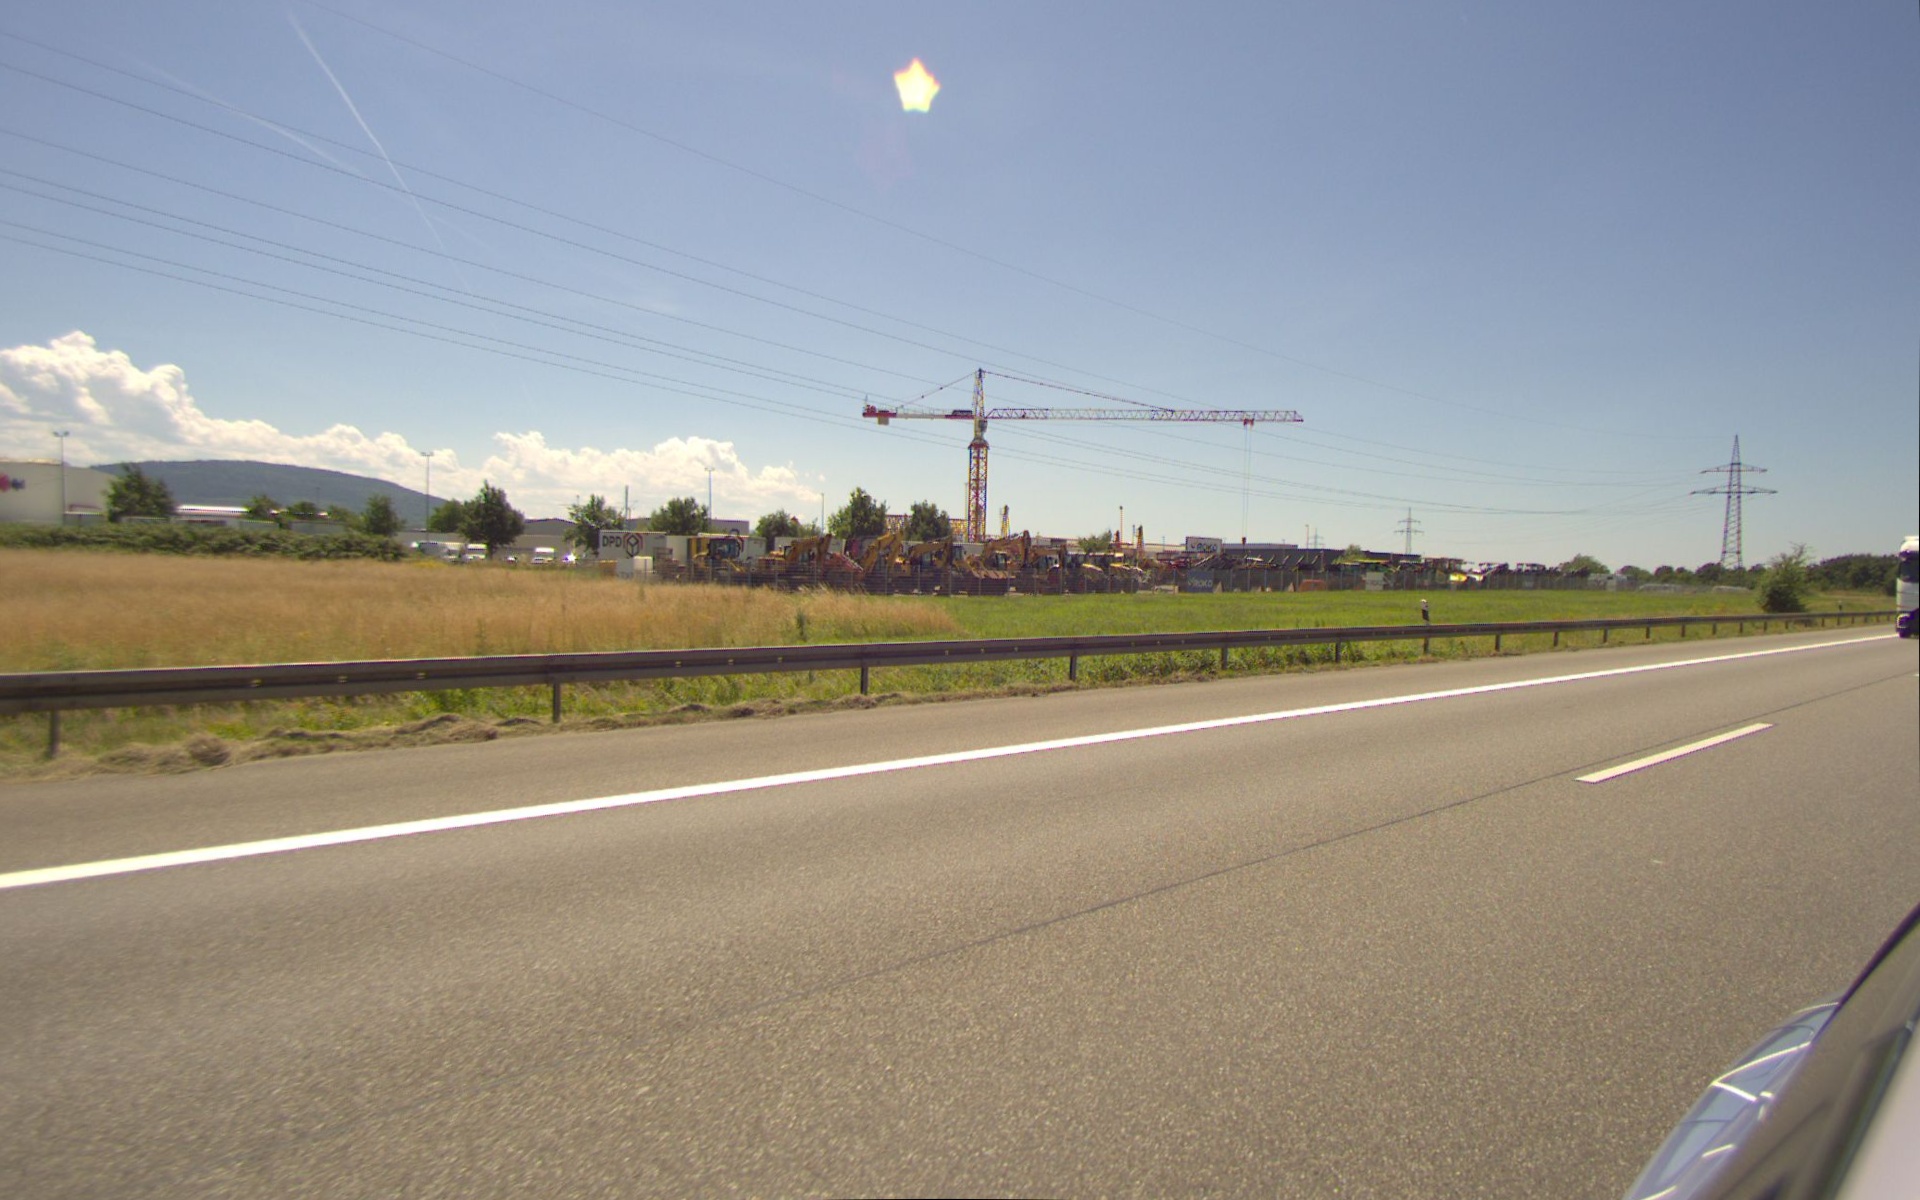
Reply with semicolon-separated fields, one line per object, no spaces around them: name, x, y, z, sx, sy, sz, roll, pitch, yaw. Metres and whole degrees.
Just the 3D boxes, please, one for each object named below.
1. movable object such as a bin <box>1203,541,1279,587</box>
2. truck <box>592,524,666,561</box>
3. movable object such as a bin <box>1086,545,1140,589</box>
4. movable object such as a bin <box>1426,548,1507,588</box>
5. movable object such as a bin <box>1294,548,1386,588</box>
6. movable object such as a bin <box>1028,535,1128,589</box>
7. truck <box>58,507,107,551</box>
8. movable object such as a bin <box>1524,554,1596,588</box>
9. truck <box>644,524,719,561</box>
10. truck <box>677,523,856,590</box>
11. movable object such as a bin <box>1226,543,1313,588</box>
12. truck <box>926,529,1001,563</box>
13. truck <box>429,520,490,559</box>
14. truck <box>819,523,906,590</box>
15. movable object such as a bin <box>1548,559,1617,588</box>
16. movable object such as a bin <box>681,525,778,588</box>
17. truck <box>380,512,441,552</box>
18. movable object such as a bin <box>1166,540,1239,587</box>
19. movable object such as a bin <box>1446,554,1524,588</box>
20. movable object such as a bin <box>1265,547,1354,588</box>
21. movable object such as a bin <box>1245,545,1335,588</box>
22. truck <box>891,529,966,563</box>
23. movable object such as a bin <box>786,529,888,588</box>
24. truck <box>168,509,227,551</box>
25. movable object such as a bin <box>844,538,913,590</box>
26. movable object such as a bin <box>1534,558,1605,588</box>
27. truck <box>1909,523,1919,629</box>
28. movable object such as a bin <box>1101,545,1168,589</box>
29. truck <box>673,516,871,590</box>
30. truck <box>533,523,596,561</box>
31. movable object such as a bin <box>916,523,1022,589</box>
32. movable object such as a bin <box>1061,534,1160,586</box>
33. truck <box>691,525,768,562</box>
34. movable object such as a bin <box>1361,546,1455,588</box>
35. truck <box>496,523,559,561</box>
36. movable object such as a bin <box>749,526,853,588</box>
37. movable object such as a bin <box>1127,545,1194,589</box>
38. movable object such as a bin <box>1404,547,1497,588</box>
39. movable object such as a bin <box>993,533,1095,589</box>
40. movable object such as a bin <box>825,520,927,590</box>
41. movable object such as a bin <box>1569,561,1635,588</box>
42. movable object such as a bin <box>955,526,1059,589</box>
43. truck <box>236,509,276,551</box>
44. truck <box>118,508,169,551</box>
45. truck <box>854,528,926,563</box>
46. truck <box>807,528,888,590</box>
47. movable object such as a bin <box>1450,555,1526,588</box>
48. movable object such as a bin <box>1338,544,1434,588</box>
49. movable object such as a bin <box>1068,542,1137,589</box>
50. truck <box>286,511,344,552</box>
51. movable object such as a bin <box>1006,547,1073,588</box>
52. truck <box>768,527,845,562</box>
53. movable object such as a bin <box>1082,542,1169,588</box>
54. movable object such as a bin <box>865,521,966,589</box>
movable object such as a bin;26.286;-3.277;95.356;3.366;4.103;9.401;0;0;-8
truck;-32.477;-5.662;99.142;8.123;3.453;2.496;4;3;35
movable object such as a bin;17.013;-3.603;112.909;2.658;4.803;7.171;0;0;-22
movable object such as a bin;60.996;-3.794;122.061;3.289;4.569;8.114;0;0;-38
movable object such as a bin;40.975;-3.380;109.520;3.367;4.103;9.399;0;0;-28
movable object such as a bin;9.209;-2.914;79.764;3.080;4.001;8.114;0;0;-38
truck;-74.380;-6.032;85.901;2.778;3.453;8.169;0;3;-39
movable object such as a bin;82.941;-3.962;140.094;2.829;4.429;8.114;0;0;-38
truck;-27.755;-5.692;100.612;8.123;3.453;2.603;4;3;35
truck;-14.689;-3.203;78.308;13.880;4.832;3.051;-1;0;-39
movable object such as a bin;29.848;-3.216;98.193;3.364;4.103;9.406;0;0;-17
truck;0.292;-5.879;109.956;8.133;3.453;2.798;4;3;38
truck;-46.793;-5.652;94.518;2.712;3.453;8.153;0;3;-45
truck;-7.343;-3.213;76.288;5.875;4.832;3.051;0;0;-39
movable object such as a bin;90.580;-3.816;147.354;2.829;3.988;8.114;0;0;-38
movable object such as a bin;-14.050;-2.503;61.253;2.829;3.507;7.584;0;0;-38
truck;-49.980;-6.183;91.960;2.712;3.453;8.153;0;3;-45
movable object such as a bin;22.536;-3.313;94.851;3.366;4.103;9.401;0;0;-8
movable object such as a bin;64.686;-3.539;124.888;2.829;3.955;8.114;0;0;-38
movable object such as a bin;37.053;-3.371;107.748;3.365;4.103;9.403;0;0;-25
movable object such as a bin;33.001;-3.258;101.781;3.364;4.103;9.405;0;0;-21
truck;-3.440;-5.854;108.715;8.137;3.453;2.797;4;3;40
movable object such as a bin;-8.043;-2.562;65.384;2.829;3.507;8.114;0;0;-38
truck;-66.401;-6.081;88.070;8.148;3.453;2.786;4;3;43
movable object such as a bin;-7.911;-3.357;96.951;3.227;4.709;8.850;0;0;-29
movable object such as a bin;85.689;-3.755;142.423;2.829;3.988;8.114;0;0;-38
truck;38.509;-0.900;38.750;5.622;3.942;2.572;-1;1;-40
movable object such as a bin;19.707;-3.632;115.096;3.072;4.803;9.625;0;0;-20
truck;-12.997;-3.151;71.676;14.066;4.832;3.051;-1;0;-39
truck;-38.395;-5.675;98.076;2.712;3.453;8.153;0;3;-45
movable object such as a bin;0.494;-3.008;72.310;3.290;4.351;8.114;0;0;-38
movable object such as a bin;12.090;-3.122;82.070;3.080;4.001;8.114;0;0;-38
truck;-23.316;-5.722;102.068;8.123;3.453;2.802;4;3;35
movable object such as a bin;50.998;-3.699;115.554;3.374;4.569;9.380;0;0;-38
truck;-41.384;-5.588;96.609;2.712;3.453;8.153;0;3;-45
movable object such as a bin;-9.917;-2.529;62.394;2.829;3.507;8.114;0;0;-38
movable object such as a bin;22.929;-3.656;116.360;3.072;4.803;9.625;0;0;-20
movable object such as a bin;57.787;-3.760;119.525;3.374;4.569;9.380;0;0;-38
movable object such as a bin;6.303;-2.882;77.374;3.080;4.001;8.114;0;0;-38
movable object such as a bin;-5.728;-2.886;67.517;2.829;4.351;8.114;0;0;-38
movable object such as a bin;97.960;-3.907;154.494;2.829;3.988;8.114;0;0;-38
movable object such as a bin;3.375;-3.042;74.899;3.239;4.351;8.114;0;0;-38
truck;-62.114;-6.108;89.259;2.776;3.453;8.177;0;3;-35
truck;-70.059;-6.056;86.762;2.783;3.453;8.156;0;3;-44
truck;-7.444;-5.827;107.333;8.148;3.453;2.793;4;3;43
truck;-9.163;-3.264;82.791;5.875;4.832;3.051;0;0;-39
movable object such as a bin;66.663;-3.573;127.981;2.829;3.955;8.114;0;0;-38
movable object such as a bin;47.028;-3.653;111.944;3.374;4.569;9.380;0;0;-38
movable object such as a bin;15.263;-3.592;108.864;3.225;4.865;8.507;0;0;-25
truck;-57.901;-6.137;90.763;2.712;3.453;8.153;0;3;-45
movable object such as a bin;8.285;-3.319;106.300;3.225;4.014;8.507;0;0;-25
truck;-15.938;-5.772;104.663;8.123;3.453;2.802;4;3;35
movable object such as a bin;15.262;-3.137;93.964;3.080;4.001;8.114;0;0;-38
movable object such as a bin;-3.209;-2.972;69.716;2.829;4.351;8.114;0;0;-38
